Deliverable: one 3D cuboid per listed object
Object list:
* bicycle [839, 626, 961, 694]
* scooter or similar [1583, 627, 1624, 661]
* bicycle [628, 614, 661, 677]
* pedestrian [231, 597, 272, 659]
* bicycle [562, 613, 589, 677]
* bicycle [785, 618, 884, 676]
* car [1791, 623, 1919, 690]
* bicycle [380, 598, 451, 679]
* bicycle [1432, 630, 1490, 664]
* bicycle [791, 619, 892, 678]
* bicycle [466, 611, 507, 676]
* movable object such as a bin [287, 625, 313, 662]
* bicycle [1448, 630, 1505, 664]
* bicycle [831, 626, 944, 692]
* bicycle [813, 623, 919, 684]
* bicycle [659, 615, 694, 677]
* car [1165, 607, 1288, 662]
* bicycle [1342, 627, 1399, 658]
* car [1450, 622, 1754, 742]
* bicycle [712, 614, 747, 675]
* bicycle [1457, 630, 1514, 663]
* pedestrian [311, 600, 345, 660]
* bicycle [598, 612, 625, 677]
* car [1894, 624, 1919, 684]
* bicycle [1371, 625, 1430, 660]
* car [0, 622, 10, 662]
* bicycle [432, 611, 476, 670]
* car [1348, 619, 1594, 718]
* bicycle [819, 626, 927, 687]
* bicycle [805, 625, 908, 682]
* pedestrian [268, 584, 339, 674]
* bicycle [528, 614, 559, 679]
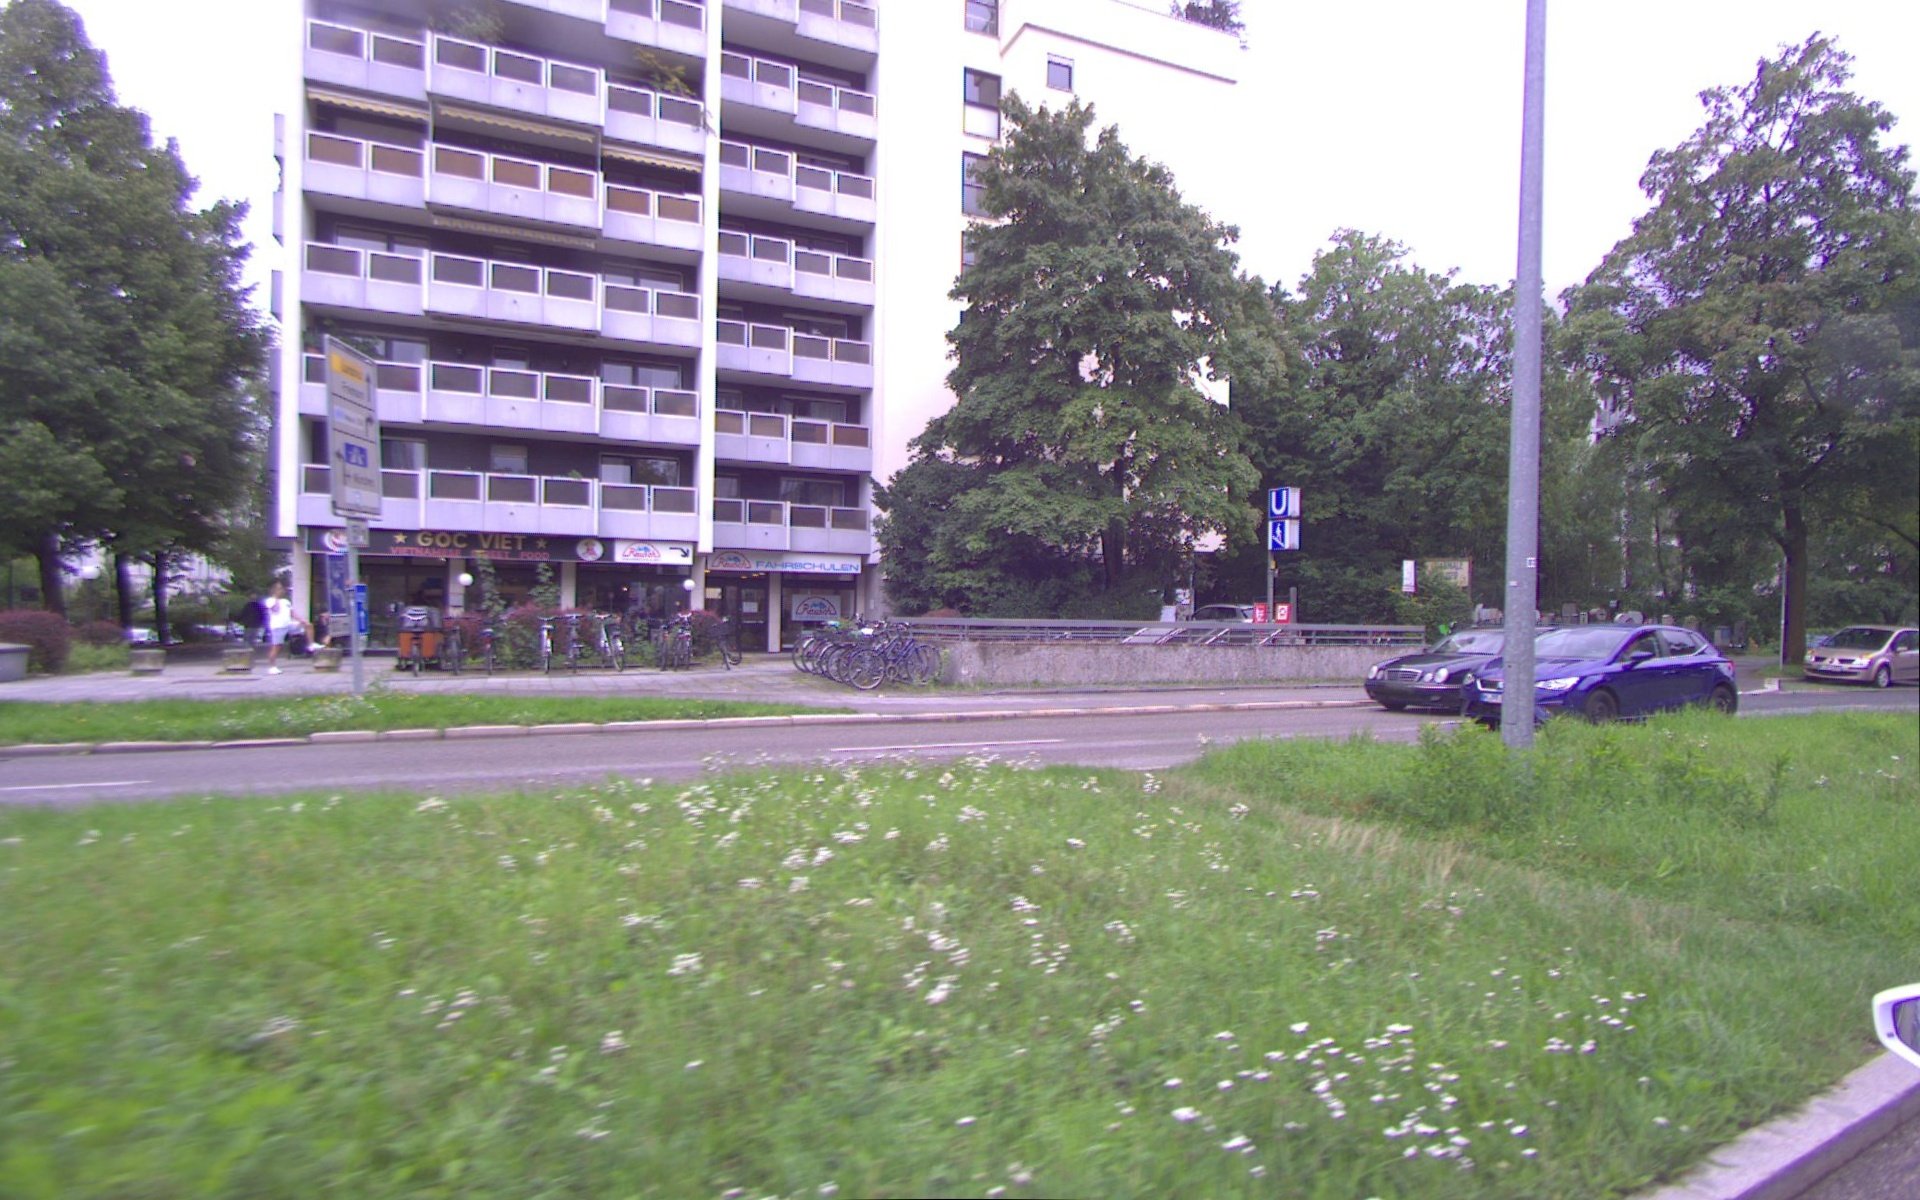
[{"bbox_3d":[-1.028,1.021,17.312,2.054,1.104,0.407,1,3,-22],"label":"bicycle"},{"bbox_3d":[22.339,1.530,34.878,1.267,1.142,0.435,1,-1,-12],"label":"scooter or similar"},{"bbox_3d":[-6.709,0.942,21.312,0.551,1.118,1.944,1,3,-20],"label":"bicycle"},{"bbox_3d":[-18.930,0.734,26.827,0.738,1.620,0.700,0,-1,39],"label":"pedestrian"},{"bbox_3d":[-7.925,0.901,20.753,0.482,1.118,1.944,1,3,-20],"label":"bicycle"},{"bbox_3d":[-2.546,0.945,20.385,1.926,1.112,0.407,1,3,-22],"label":"bicycle"},{"bbox_3d":[24.347,1.486,26.911,3.764,1.636,1.643,1,1,-23],"label":"car"},{"bbox_3d":[-10.914,0.718,20.242,0.776,1.300,3.321,1,3,-20],"label":"bicycle"},{"bbox_3d":[15.730,1.455,31.588,0.430,1.020,1.757,1,-1,-24],"label":"bicycle"},{"bbox_3d":[-2.336,0.956,19.913,1.926,1.119,0.407,1,3,-22],"label":"bicycle"},{"bbox_3d":[-9.505,0.847,20.200,0.551,1.118,1.944,1,3,-20],"label":"bicycle"},{"bbox_3d":[-17.616,1.155,26.817,0.531,0.978,0.371,1,-1,-32],"label":"movable object such as a bin"},{"bbox_3d":[16.461,1.477,32.051,0.430,1.020,1.757,1,-1,-24],"label":"bicycle"},{"bbox_3d":[-1.277,1.030,17.778,1.926,1.092,0.407,1,3,-22],"label":"bicycle"},{"bbox_3d":[-1.754,1.003,18.901,1.926,1.087,0.407,1,3,-22],"label":"bicycle"},{"bbox_3d":[-6.074,0.949,21.480,0.551,1.118,1.944,1,3,-20],"label":"bicycle"},{"bbox_3d":[8.365,1.060,31.838,1.723,1.610,3.979,1,-1,-22],"label":"car"},{"bbox_3d":[13.848,1.446,33.882,2.003,1.020,0.577,1,-1,-24],"label":"bicycle"},{"bbox_3d":[8.695,1.031,13.582,3.914,1.421,1.686,1,-1,-26],"label":"car"},{"bbox_3d":[-5.030,0.950,21.864,0.482,1.118,1.944,1,3,-20],"label":"bicycle"},{"bbox_3d":[16.966,1.492,32.445,0.430,1.020,1.757,1,-1,-24],"label":"bicycle"},{"bbox_3d":[-16.918,0.801,26.911,0.659,1.606,0.655,1,-1,-26],"label":"pedestrian"},{"bbox_3d":[-7.295,0.904,21.009,0.482,1.118,1.944,1,4,-20],"label":"bicycle"},{"bbox_3d":[29.357,1.583,29.062,4.619,1.665,1.734,1,1,-24],"label":"car"},{"bbox_3d":[14.440,1.381,32.907,2.003,1.114,0.577,1,-1,-24],"label":"bicycle"},{"bbox_3d":[-41.759,1.784,41.843,1.973,1.704,3.975,1,-1,-25],"label":"car"},{"bbox_3d":[-10.047,0.785,19.999,0.551,1.118,1.945,1,-1,-20],"label":"bicycle"},{"bbox_3d":[8.623,1.102,16.936,3.914,1.504,1.686,1,-1,-26],"label":"car"},{"bbox_3d":[-1.583,1.027,18.373,1.926,1.054,0.407,1,3,-22],"label":"bicycle"},{"bbox_3d":[-1.997,1.022,19.434,1.926,1.044,0.407,1,3,-22],"label":"bicycle"},{"bbox_3d":[-12.968,0.565,19.870,1.118,1.731,0.665,1,-1,-30],"label":"pedestrian"},{"bbox_3d":[-8.511,0.918,20.560,0.482,1.118,1.944,1,3,-20],"label":"bicycle"}]
